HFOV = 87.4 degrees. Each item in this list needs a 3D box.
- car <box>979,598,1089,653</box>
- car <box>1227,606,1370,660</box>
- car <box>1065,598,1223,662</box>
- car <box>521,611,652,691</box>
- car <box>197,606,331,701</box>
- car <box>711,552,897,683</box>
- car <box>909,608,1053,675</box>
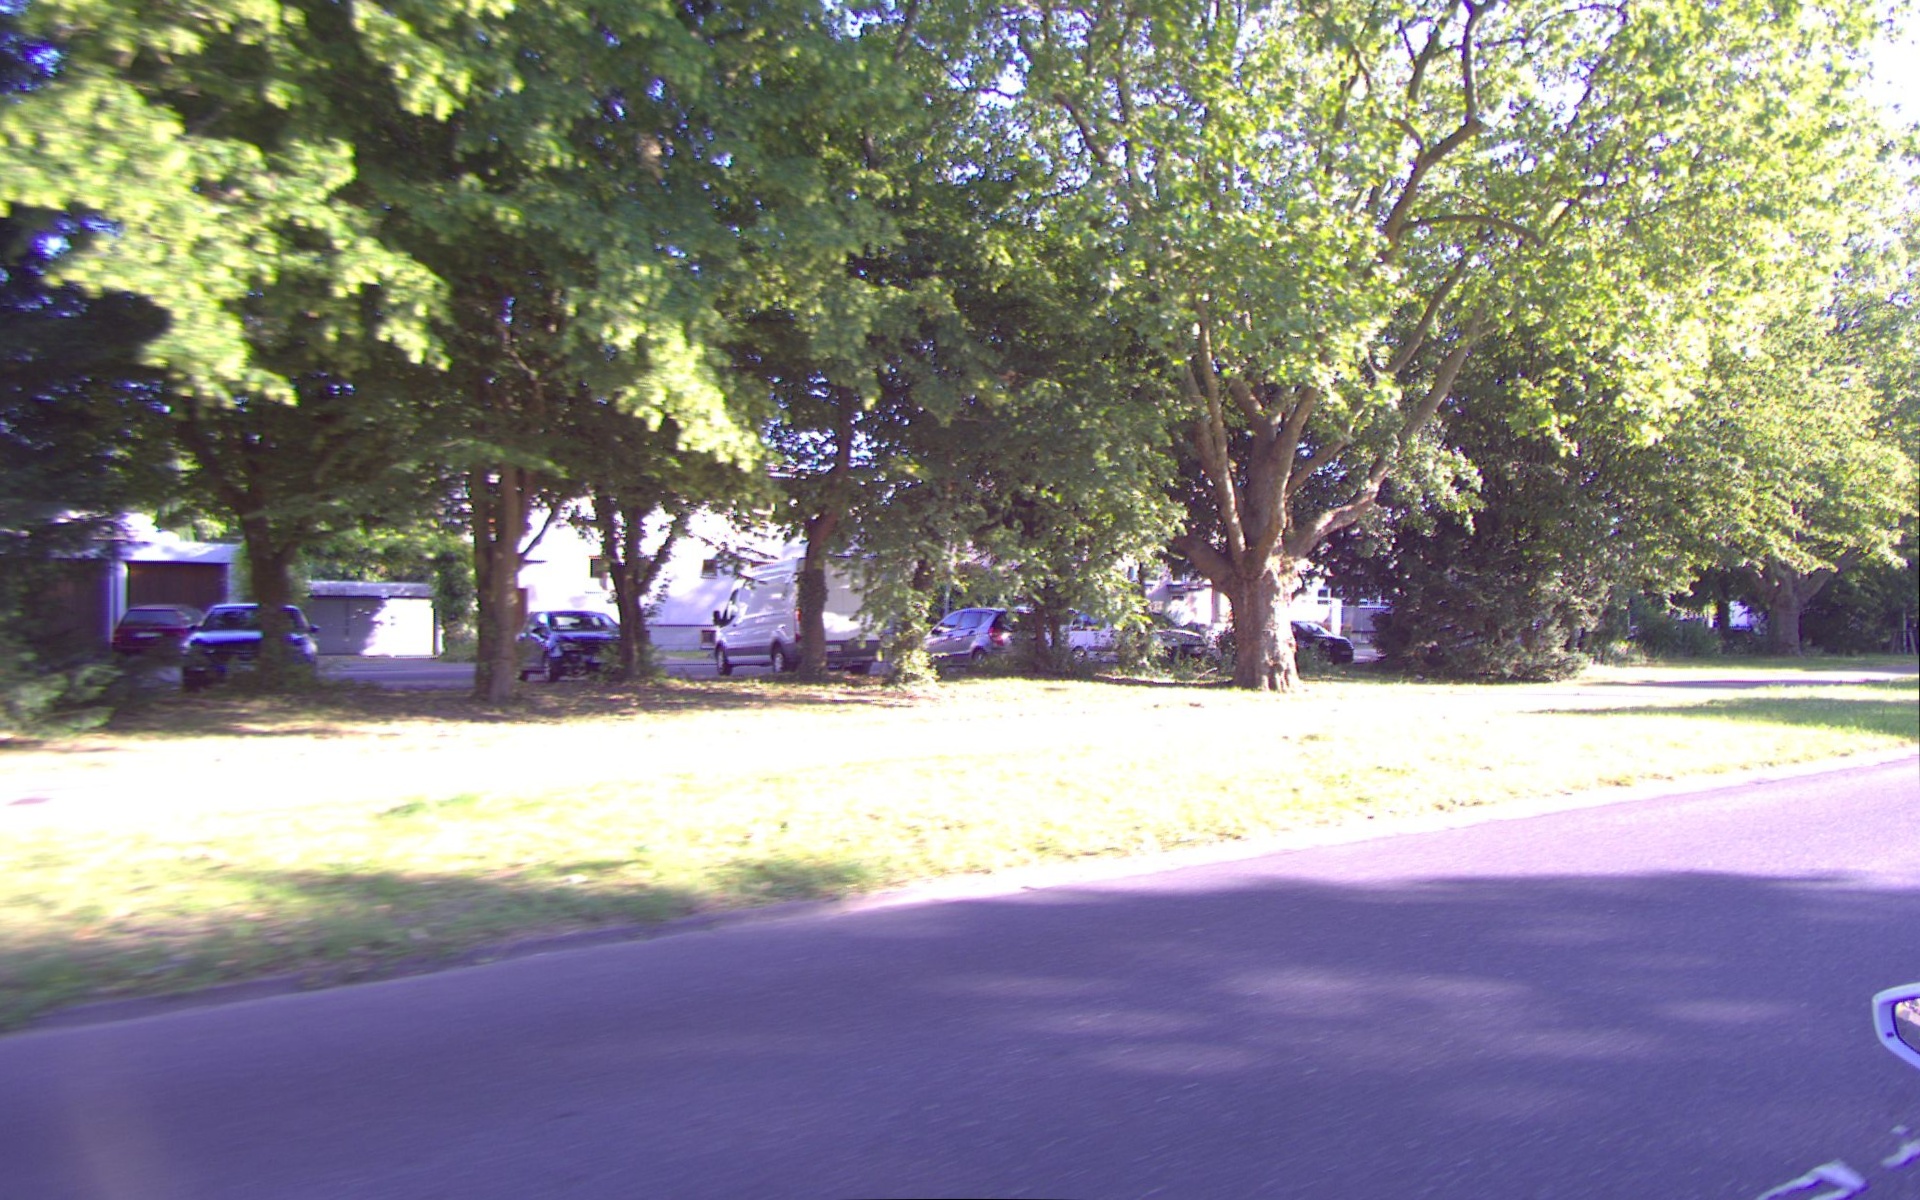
[{"bbox_3d":[2.976,1.021,41.313,1.982,2.040,4.510,2,0,-38],"label":"car"},{"bbox_3d":[10.730,1.009,32.030,1.894,1.528,3.960,1,0,-35],"label":"car"},{"bbox_3d":[5.022,0.802,27.790,1.935,1.617,4.094,1,-1,-37],"label":"car"},{"bbox_3d":[-7.341,0.922,19.575,1.675,1.400,3.460,1,-1,-33],"label":"car"},{"bbox_3d":[-11.687,0.820,17.010,1.675,1.400,3.906,1,-1,-33],"label":"car"},{"bbox_3d":[-3.603,0.443,22.212,2.162,2.534,5.402,1,-2,-32],"label":"car"},{"bbox_3d":[0.444,0.969,24.766,1.794,1.520,3.705,1,-1,-33],"label":"car"}]
